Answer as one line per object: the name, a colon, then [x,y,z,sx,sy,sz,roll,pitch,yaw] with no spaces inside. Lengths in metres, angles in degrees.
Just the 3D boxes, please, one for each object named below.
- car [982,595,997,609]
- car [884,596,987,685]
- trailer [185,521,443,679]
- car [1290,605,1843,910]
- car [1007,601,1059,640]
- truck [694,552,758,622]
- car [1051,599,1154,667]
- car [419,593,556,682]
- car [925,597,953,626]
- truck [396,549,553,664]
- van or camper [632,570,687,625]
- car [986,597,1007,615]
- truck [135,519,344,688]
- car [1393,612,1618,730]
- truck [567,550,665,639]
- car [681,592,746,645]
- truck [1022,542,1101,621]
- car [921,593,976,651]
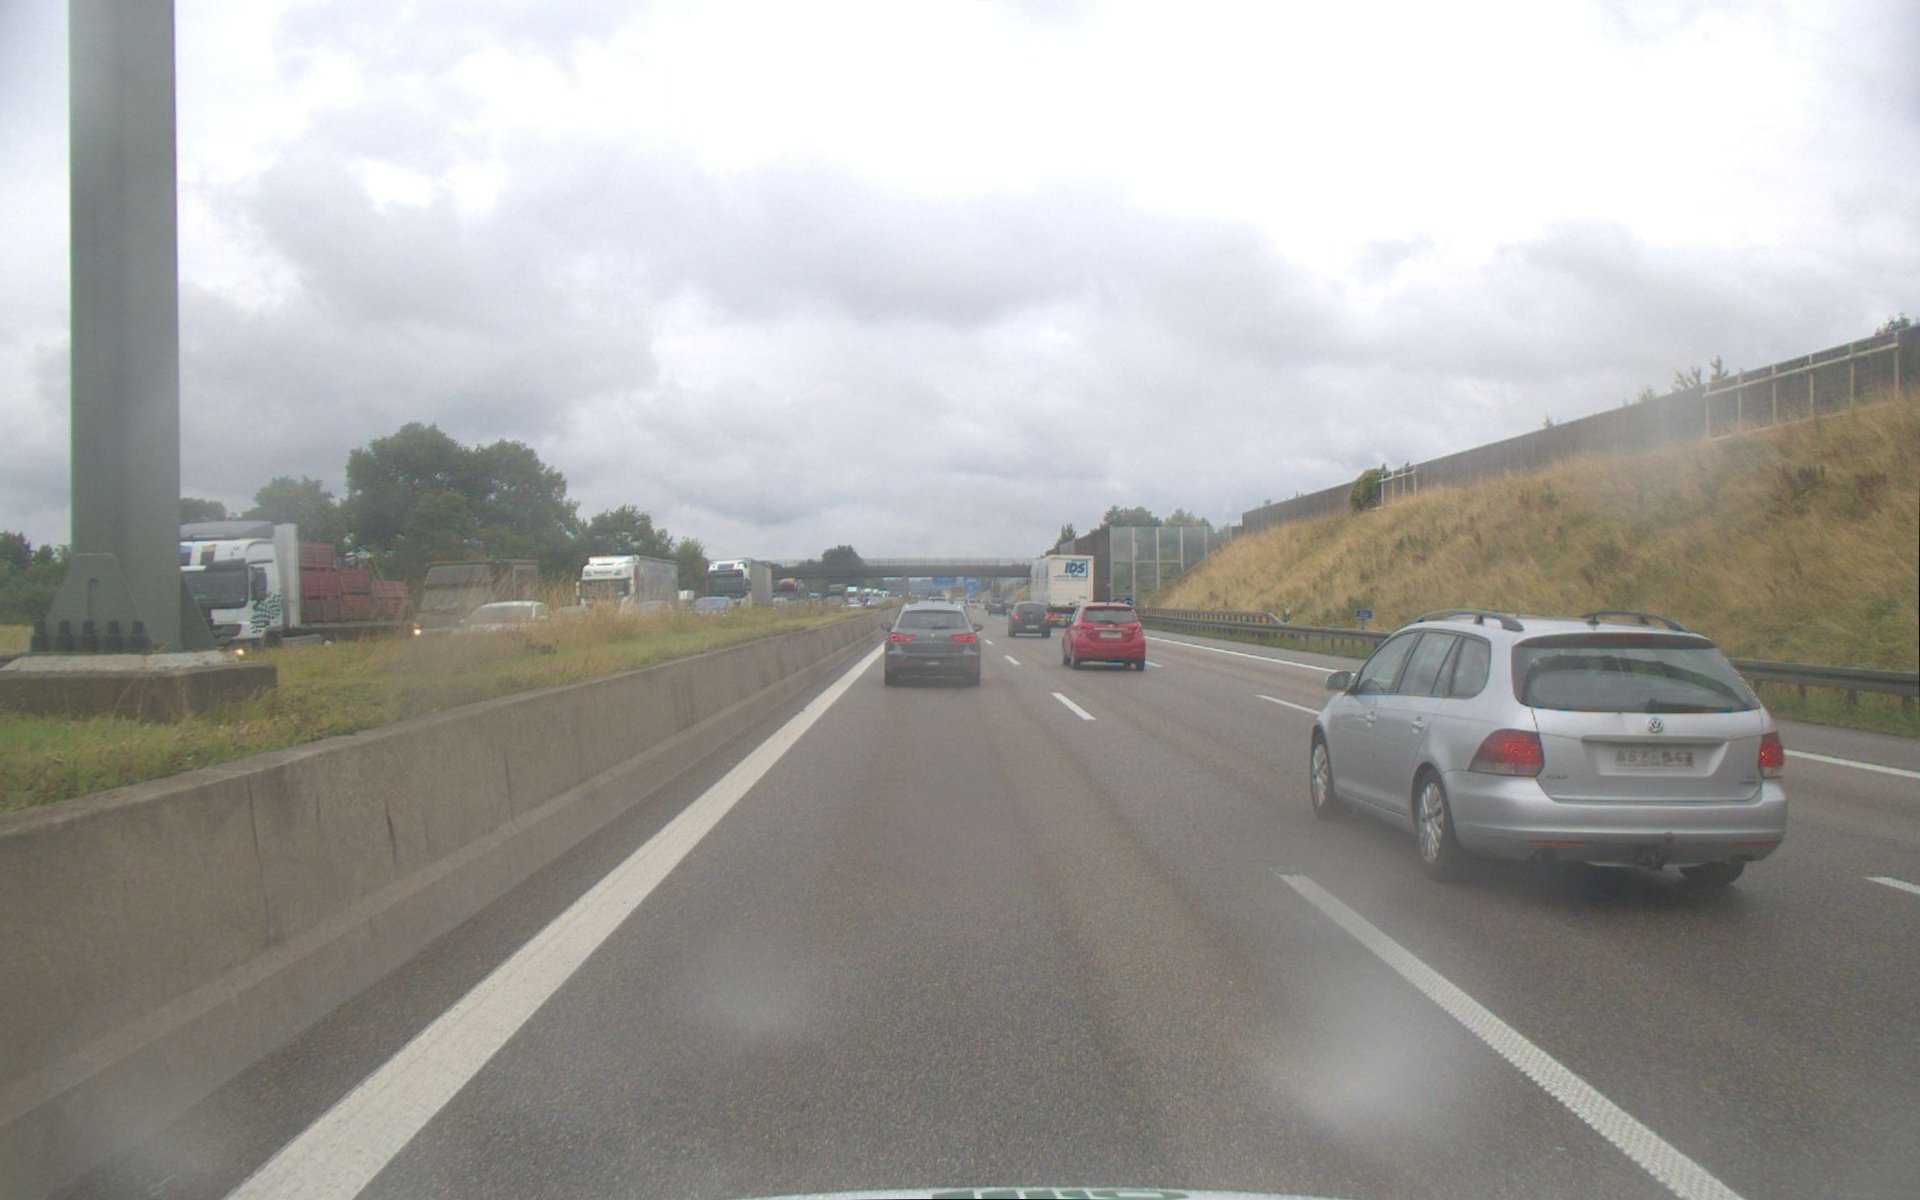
car: [4.041,0.259,226.896,1.953,1.843,4.227,-2,0,-1]
car: [-0.494,0.702,30.209,1.733,1.493,3.998,1,0,-3]
trailer: [-17.617,-0.107,46.329,2.587,3.790,12.192,1,1,-1]
car: [3.411,0.774,10.324,1.706,1.450,4.515,0,0,-1]
car: [3.064,0.838,69.909,1.882,1.548,4.621,0,0,-2]
truck: [-14.241,-0.745,101.170,3.029,4.045,6.370,1,-1,-1]
car: [3.269,0.733,38.741,1.853,1.472,4.683,0,0,-2]
car: [-9.859,0.757,34.833,1.745,1.747,3.999,1,0,-1]
car: [-1.434,0.773,110.848,1.670,1.828,3.853,-2,0,-3]
truck: [-13.498,0.192,46.626,2.264,2.959,7.422,1,0,-1]
van or camper: [-20.286,-0.152,111.933,2.654,3.564,7.695,1,0,-3]
car: [3.585,0.576,161.910,1.808,1.716,3.998,1,0,-2]
truck: [-17.534,0.024,40.688,2.587,3.790,5.871,1,1,-1]
car: [7.238,0.886,22.340,1.668,1.426,3.874,1,0,-1]
truck: [-17.827,-0.251,86.337,3.542,4.349,7.590,1,-1,-1]
car: [-9.930,0.722,66.943,1.953,2.049,4.800,-1,0,-1]
truck: [5.991,-0.968,101.609,3.217,4.370,19.027,1,0,-1]
car: [-0.419,0.717,56.493,1.789,1.882,3.999,-1,0,-1]
